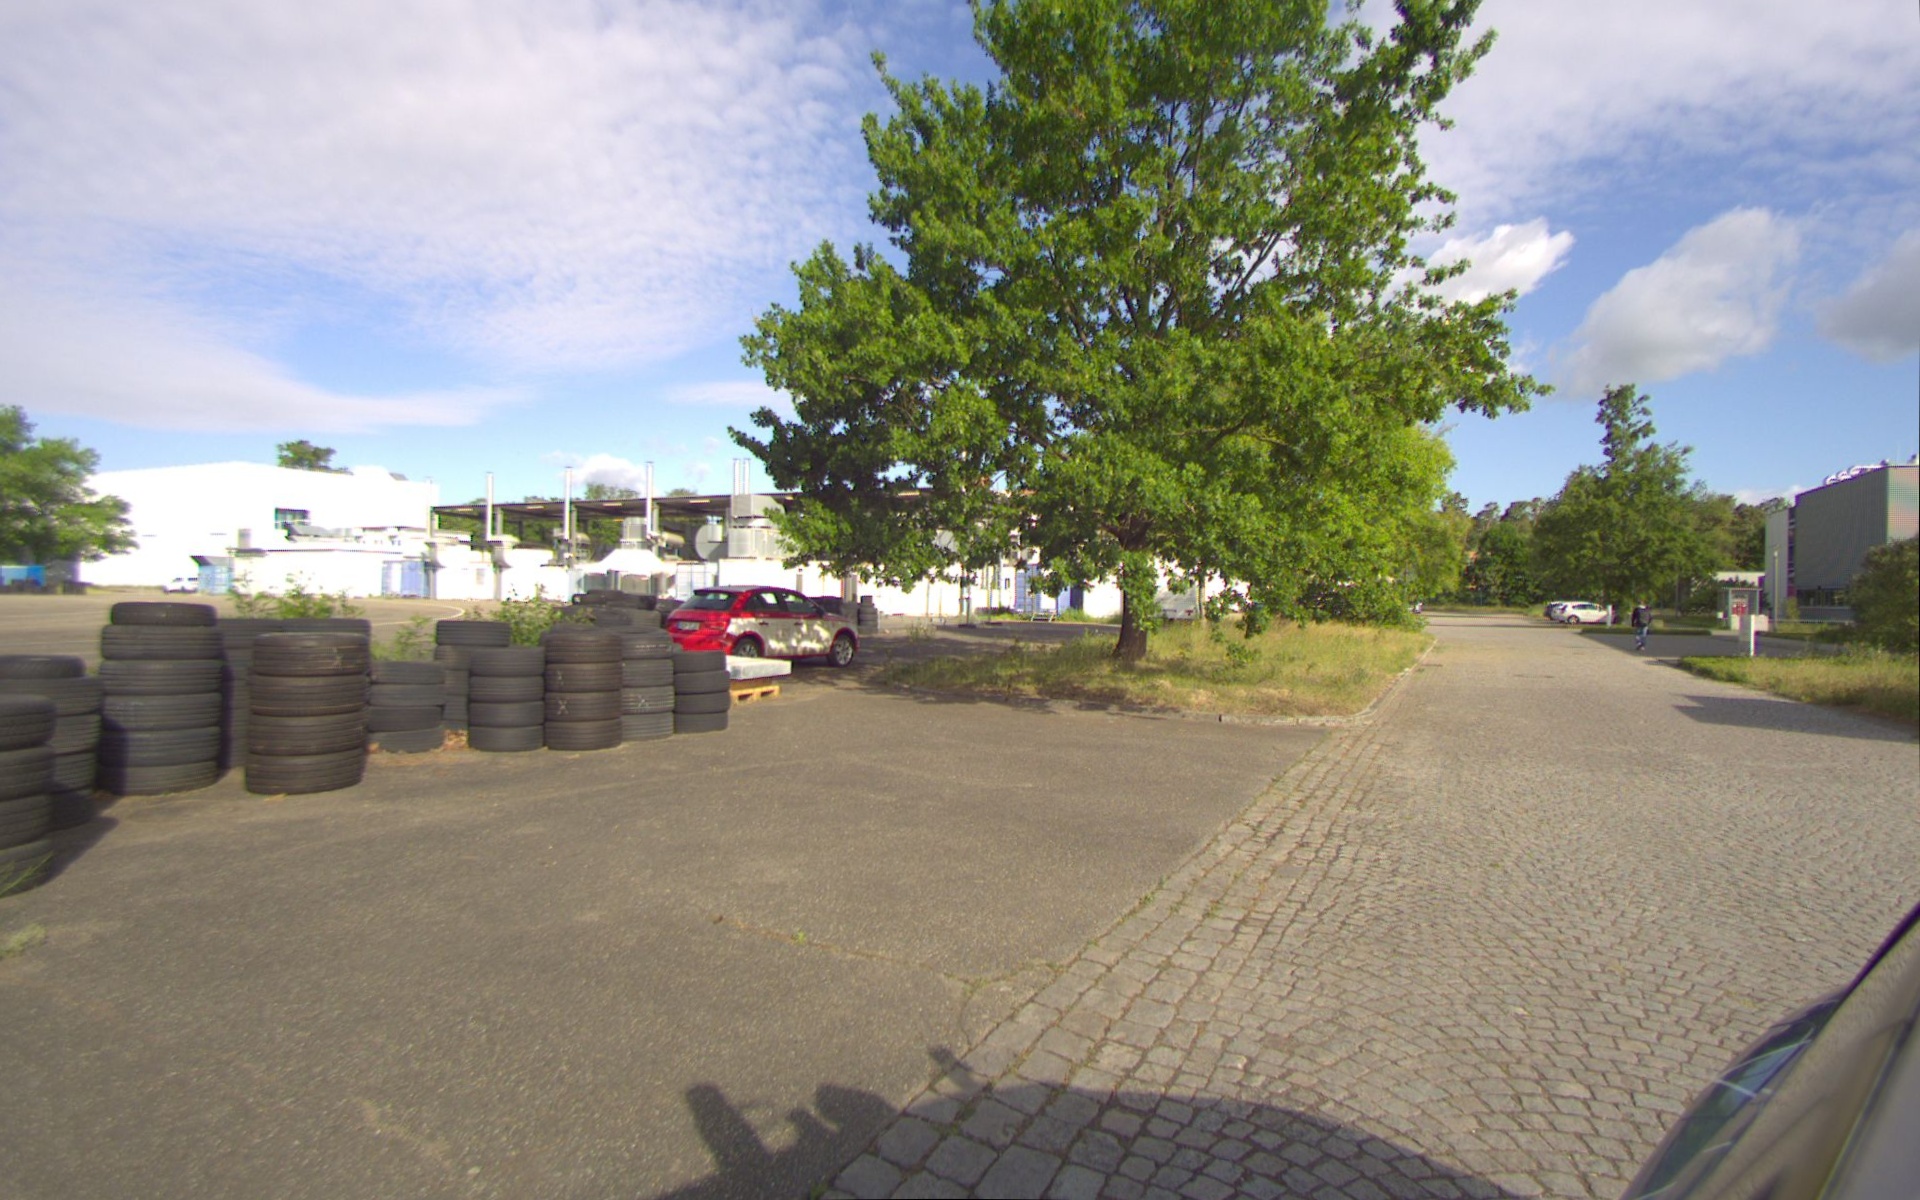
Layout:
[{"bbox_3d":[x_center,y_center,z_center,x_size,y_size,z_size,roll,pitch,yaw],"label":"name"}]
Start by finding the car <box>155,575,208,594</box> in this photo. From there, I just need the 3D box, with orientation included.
[{"bbox_3d":[-67.868,-1.370,88.264,4.501,1.584,1.859,1,0,26],"label":"car"}]

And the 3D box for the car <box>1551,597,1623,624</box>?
[{"bbox_3d":[41.786,0.651,67.488,3.971,1.663,1.976,1,1,33],"label":"car"}]

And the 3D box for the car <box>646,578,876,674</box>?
[{"bbox_3d":[-3.395,0.395,17.900,1.716,1.482,3.952,1,0,34],"label":"car"}]

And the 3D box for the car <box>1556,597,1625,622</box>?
[{"bbox_3d":[43.372,0.632,69.705,3.971,1.663,1.976,1,1,33],"label":"car"}]

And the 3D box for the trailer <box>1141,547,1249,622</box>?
[{"bbox_3d":[12.315,-0.764,52.262,2.900,3.515,9.800,1,0,29],"label":"trailer"}]

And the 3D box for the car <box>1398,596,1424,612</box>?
[{"bbox_3d":[42.104,0.353,94.473,1.976,1.388,3.972,1,0,21],"label":"car"}]

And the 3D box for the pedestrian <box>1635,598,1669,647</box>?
[{"bbox_3d":[22.699,0.719,33.194,0.863,1.578,1.014,1,0,38],"label":"pedestrian"}]
